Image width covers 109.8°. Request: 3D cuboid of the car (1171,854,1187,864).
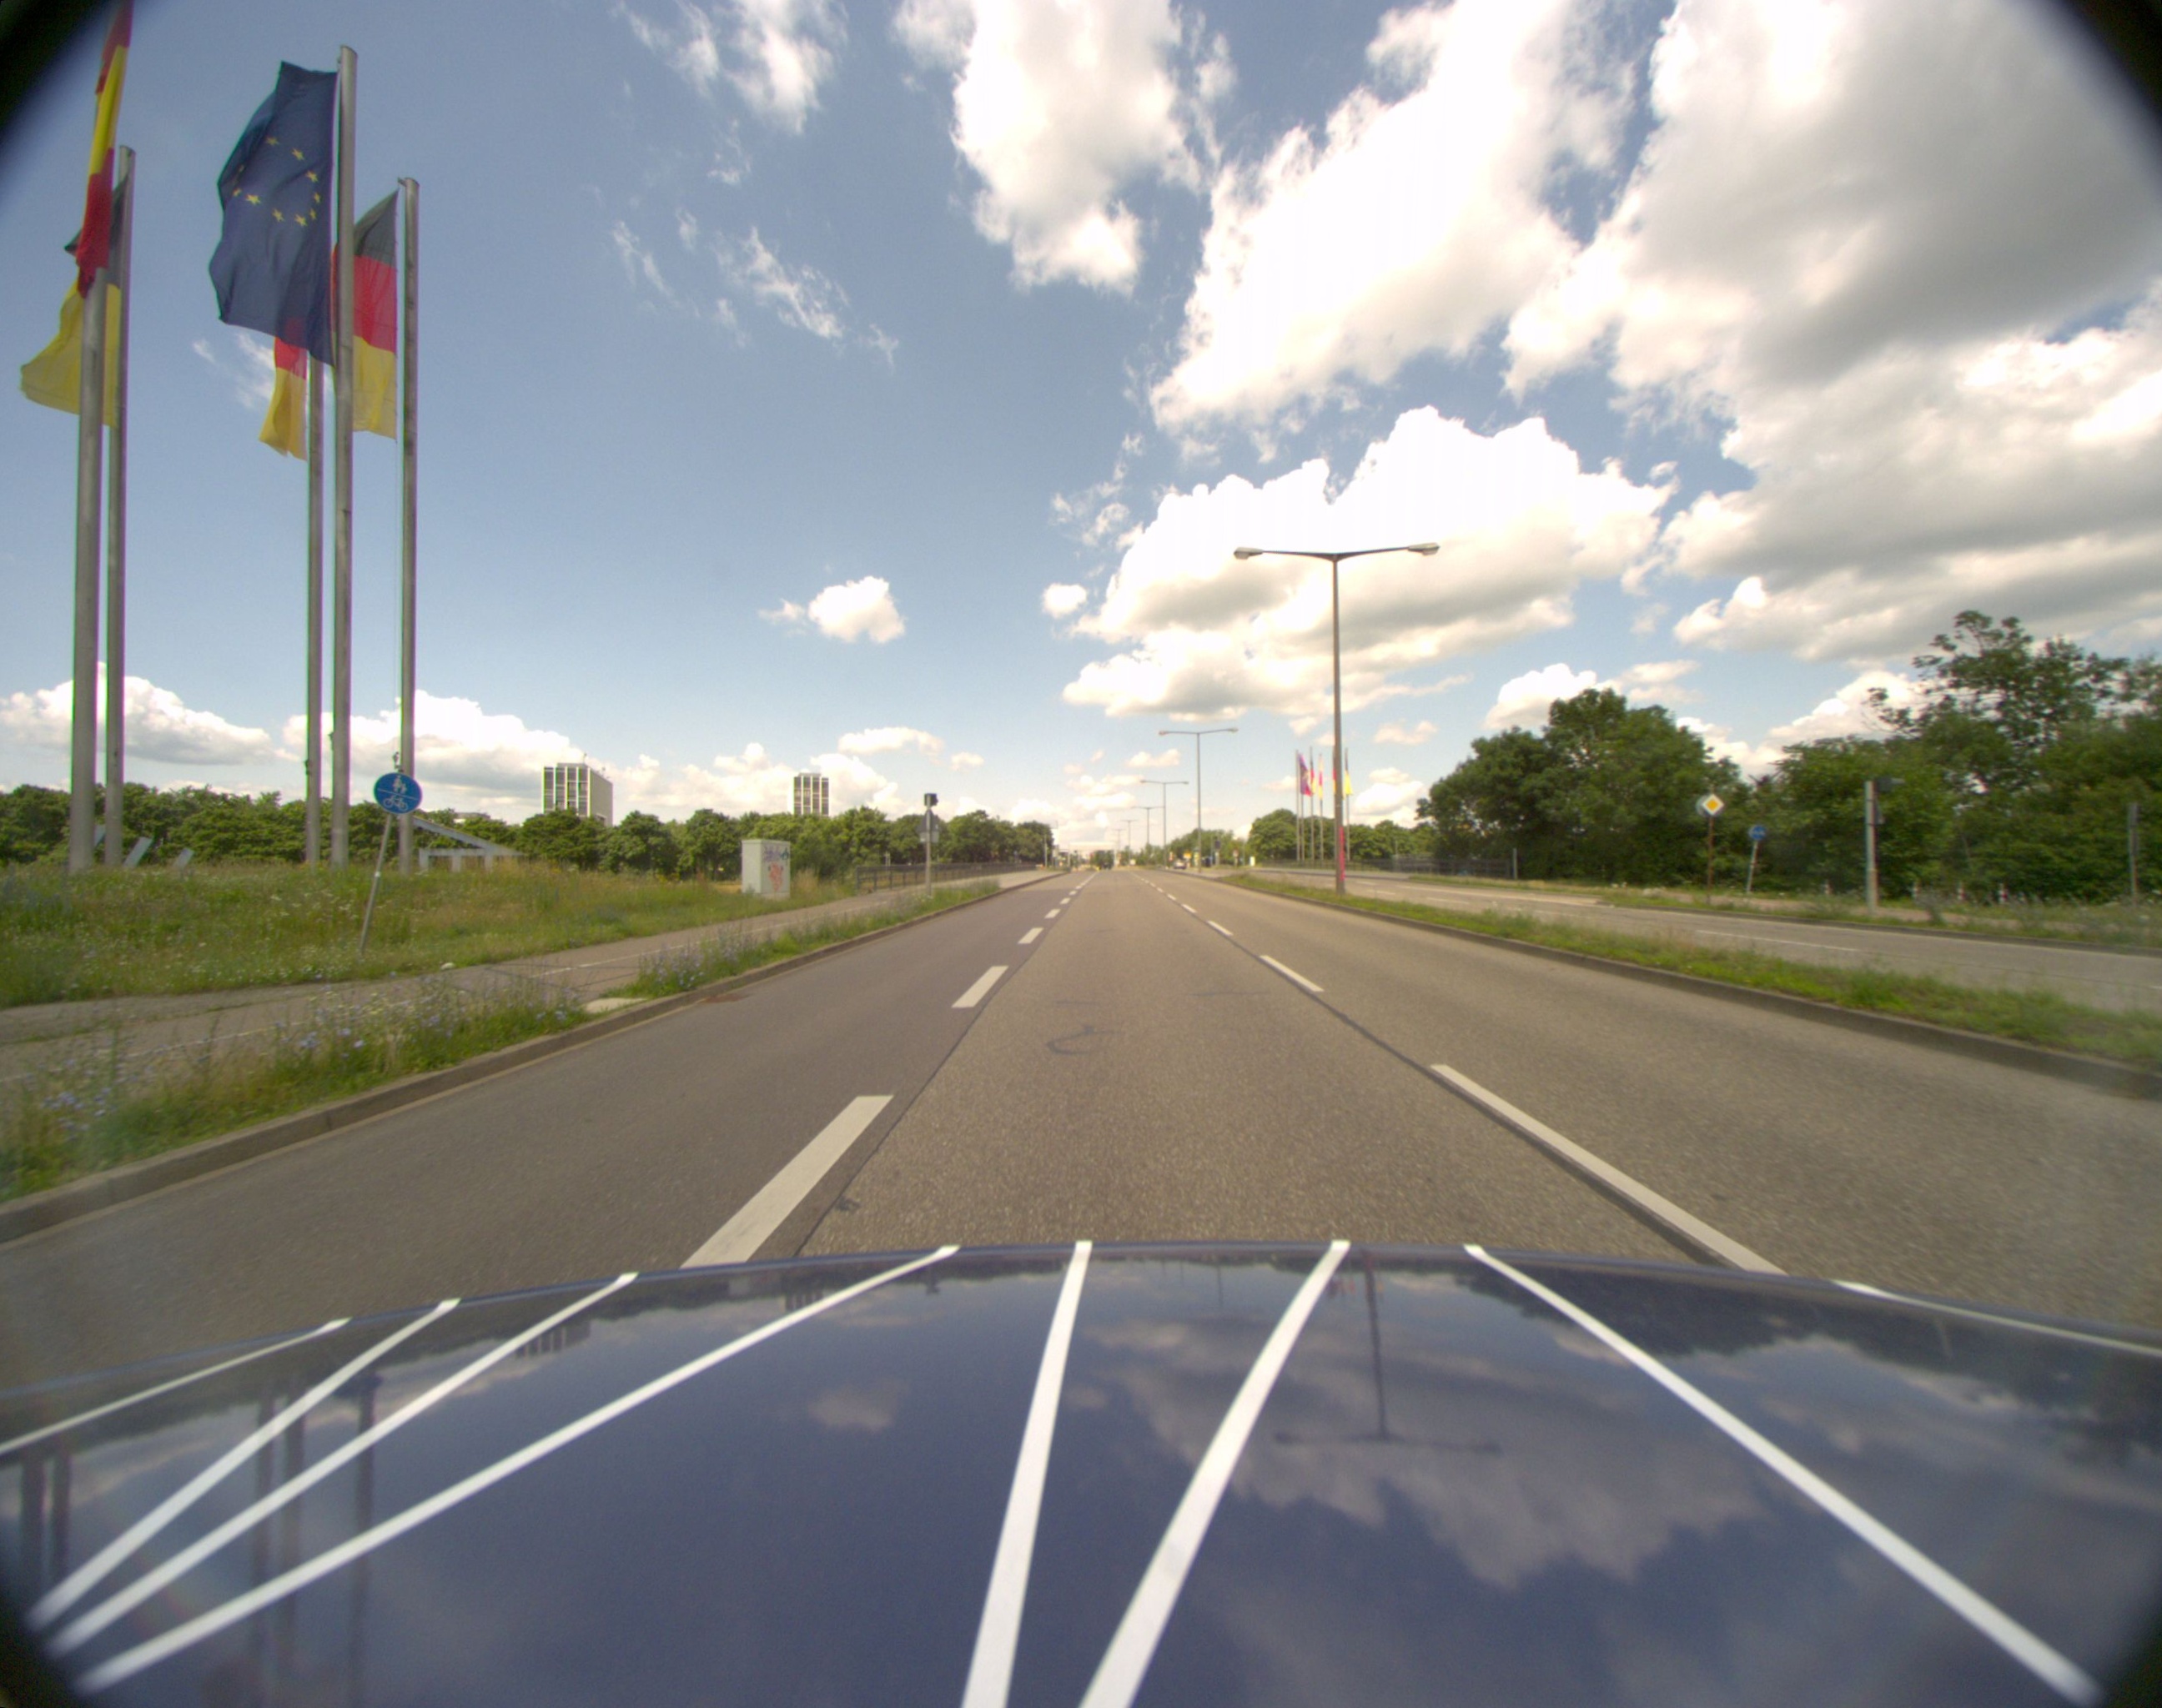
[{"bbox_3d":[17.672,0.944,136.636,2.094,1.616,4.550,4,-1,-1],"label":"car"}]
